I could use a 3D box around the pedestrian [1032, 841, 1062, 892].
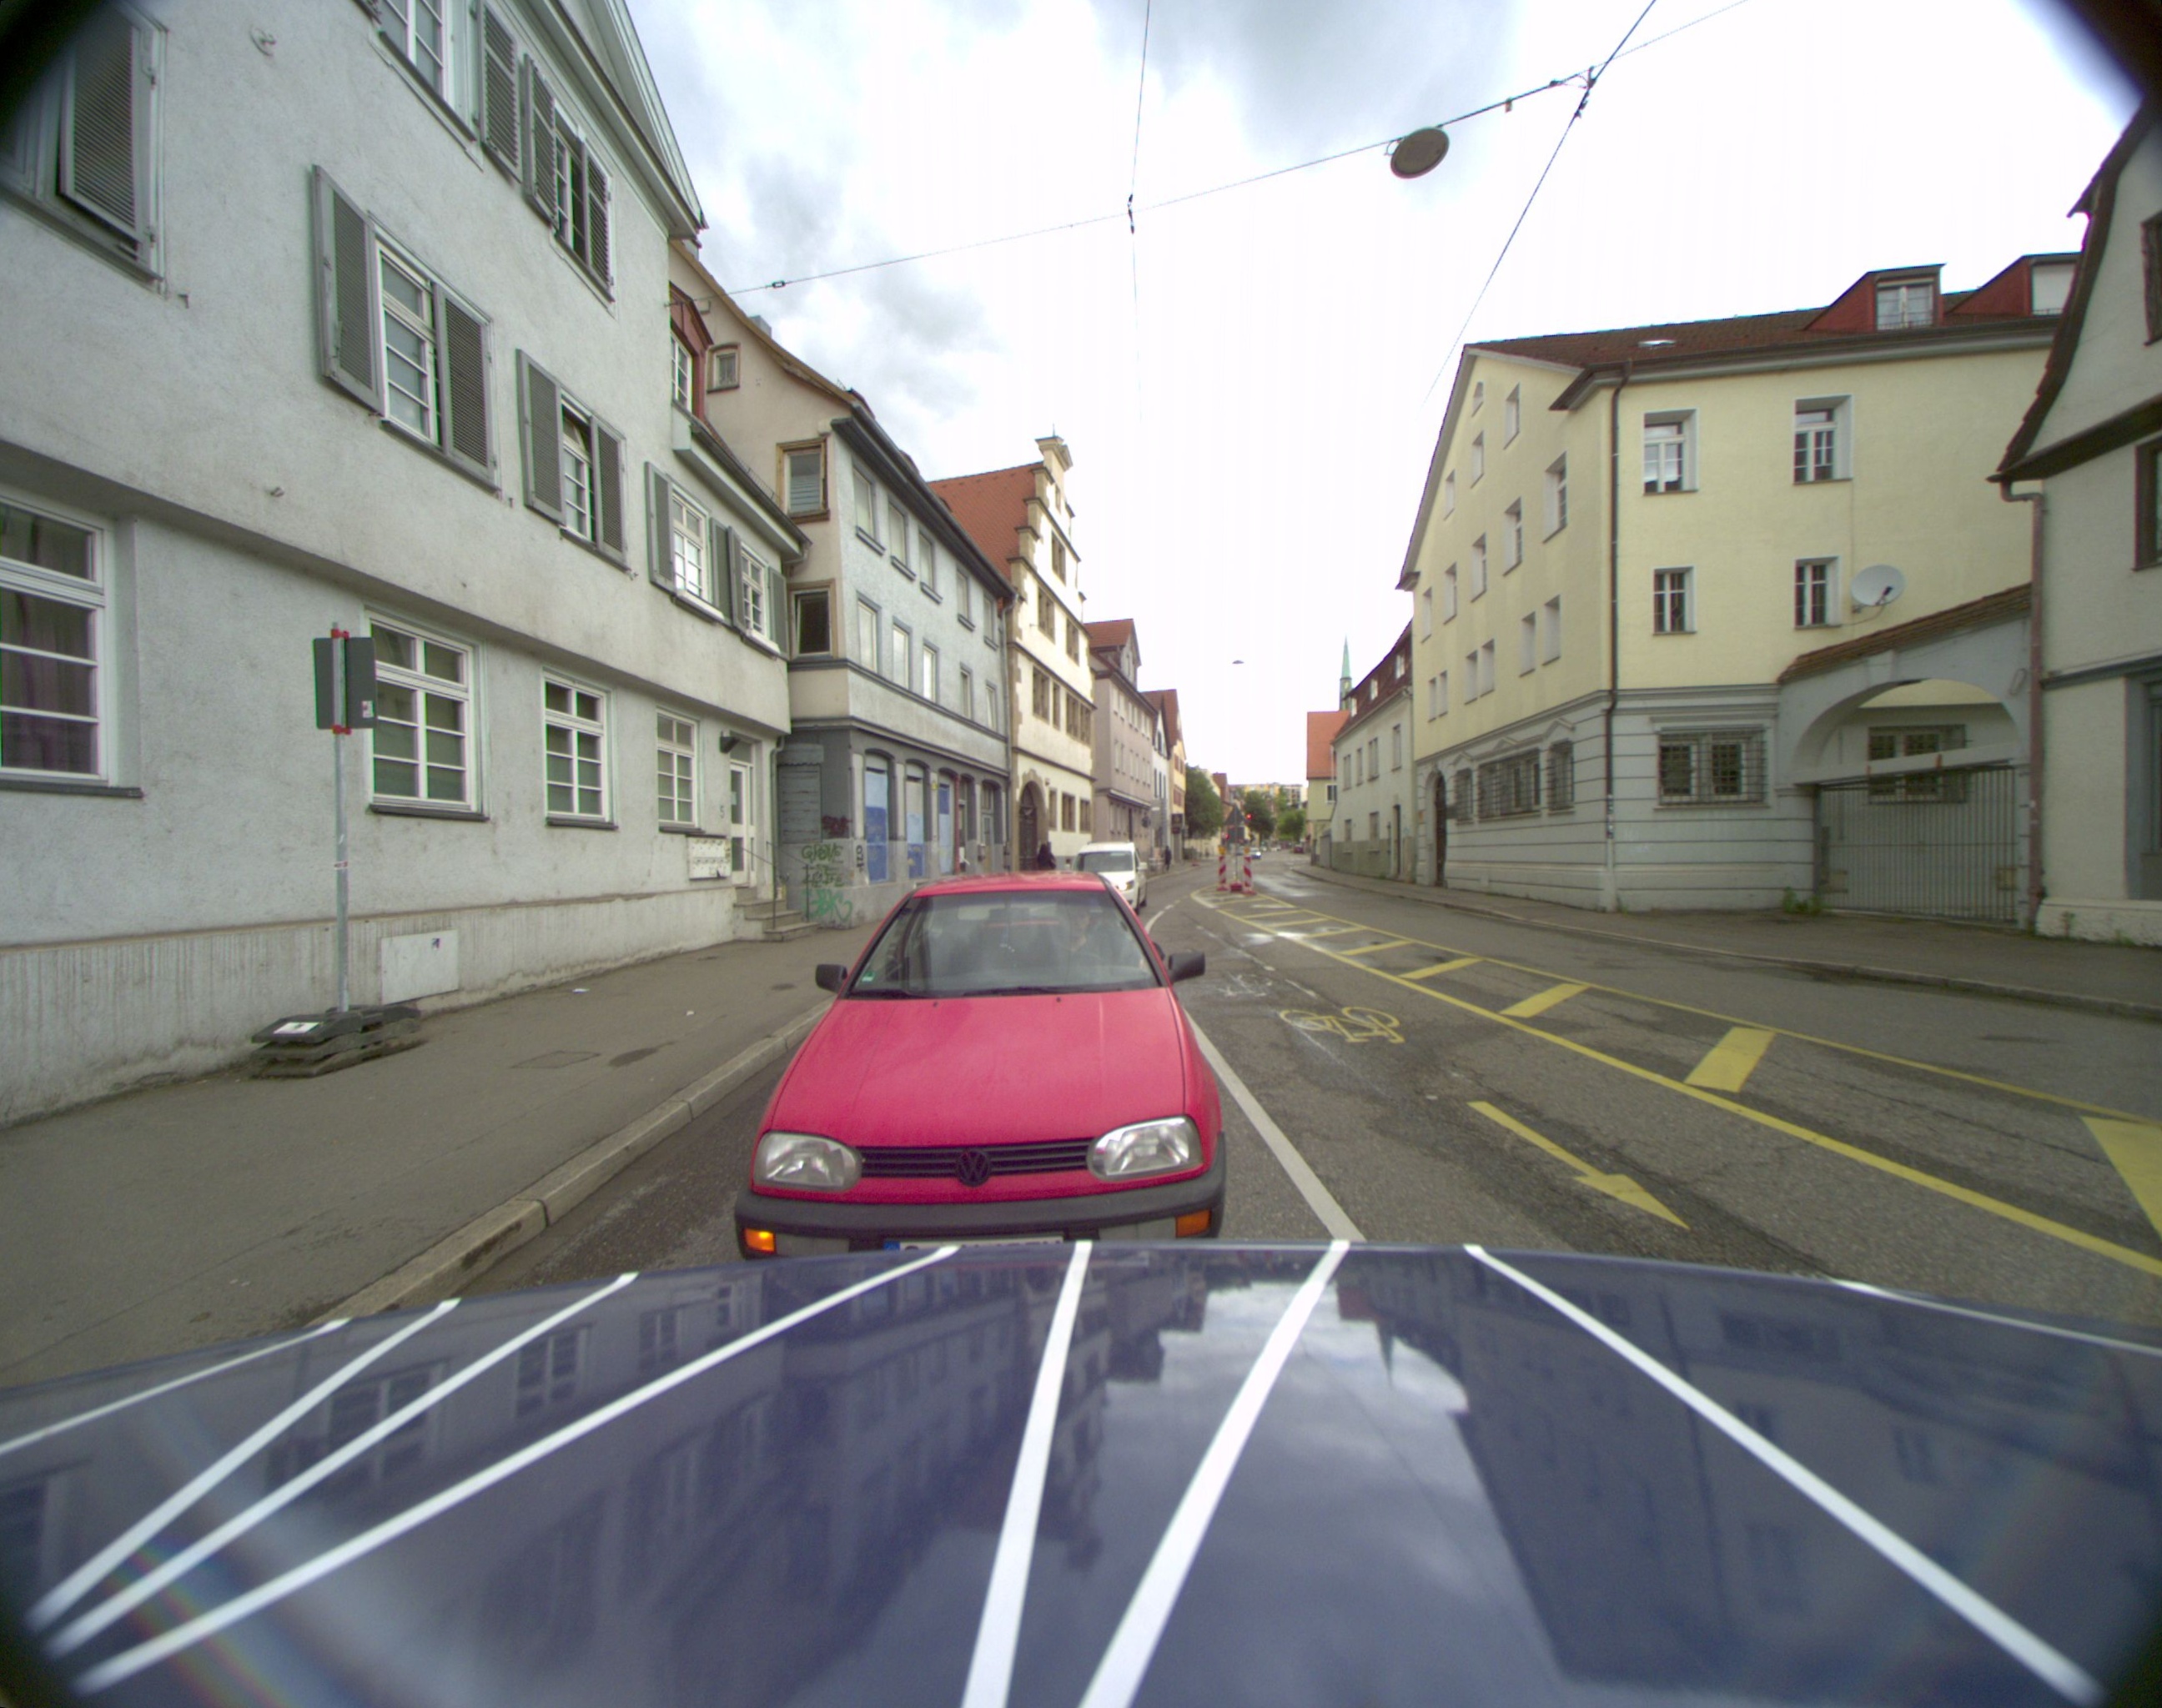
[{"bbox_3d":[-1.148,0.411,25.652,0.756,1.658,0.810,2,1,15],"label":"pedestrian"}]

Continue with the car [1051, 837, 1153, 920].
[{"bbox_3d":[0.663,0.481,18.793,1.997,1.777,4.469,0,2,8],"label":"car"}]

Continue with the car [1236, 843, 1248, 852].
[{"bbox_3d":[28.318,-1.104,133.615,2.031,1.546,4.004,0,1,14],"label":"car"}]

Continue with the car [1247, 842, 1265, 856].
[{"bbox_3d":[21.700,-0.641,93.905,1.996,1.669,4.004,-1,1,15],"label":"car"}]

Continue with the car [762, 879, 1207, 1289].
[{"bbox_3d":[-0.340,0.956,4.939,1.685,1.418,4.021,-1,0,1],"label":"car"}]

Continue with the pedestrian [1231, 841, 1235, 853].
[{"bbox_3d":[27.043,-1.195,135.018,0.659,2.103,0.647,-1,1,16],"label":"pedestrian"}]

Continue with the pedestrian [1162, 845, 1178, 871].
[{"bbox_3d":[5.850,0.253,49.860,0.833,1.646,0.945,-1,0,15],"label":"pedestrian"}]

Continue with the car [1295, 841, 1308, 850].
[{"bbox_3d":[42.651,-1.648,146.793,2.210,1.668,4.502,0,1,14],"label":"car"}]

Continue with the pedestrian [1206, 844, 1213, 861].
[{"bbox_3d":[18.241,-0.209,107.951,0.901,2.297,0.821,-1,0,13],"label":"pedestrian"}]

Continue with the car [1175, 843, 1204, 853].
[{"bbox_3d":[16.295,-0.871,113.622,3.992,1.455,2.002,-1,1,17],"label":"car"}]

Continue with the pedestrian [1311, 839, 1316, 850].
[{"bbox_3d":[42.231,-1.760,138.160,0.835,2.002,0.846,-1,1,13],"label":"pedestrian"}]
